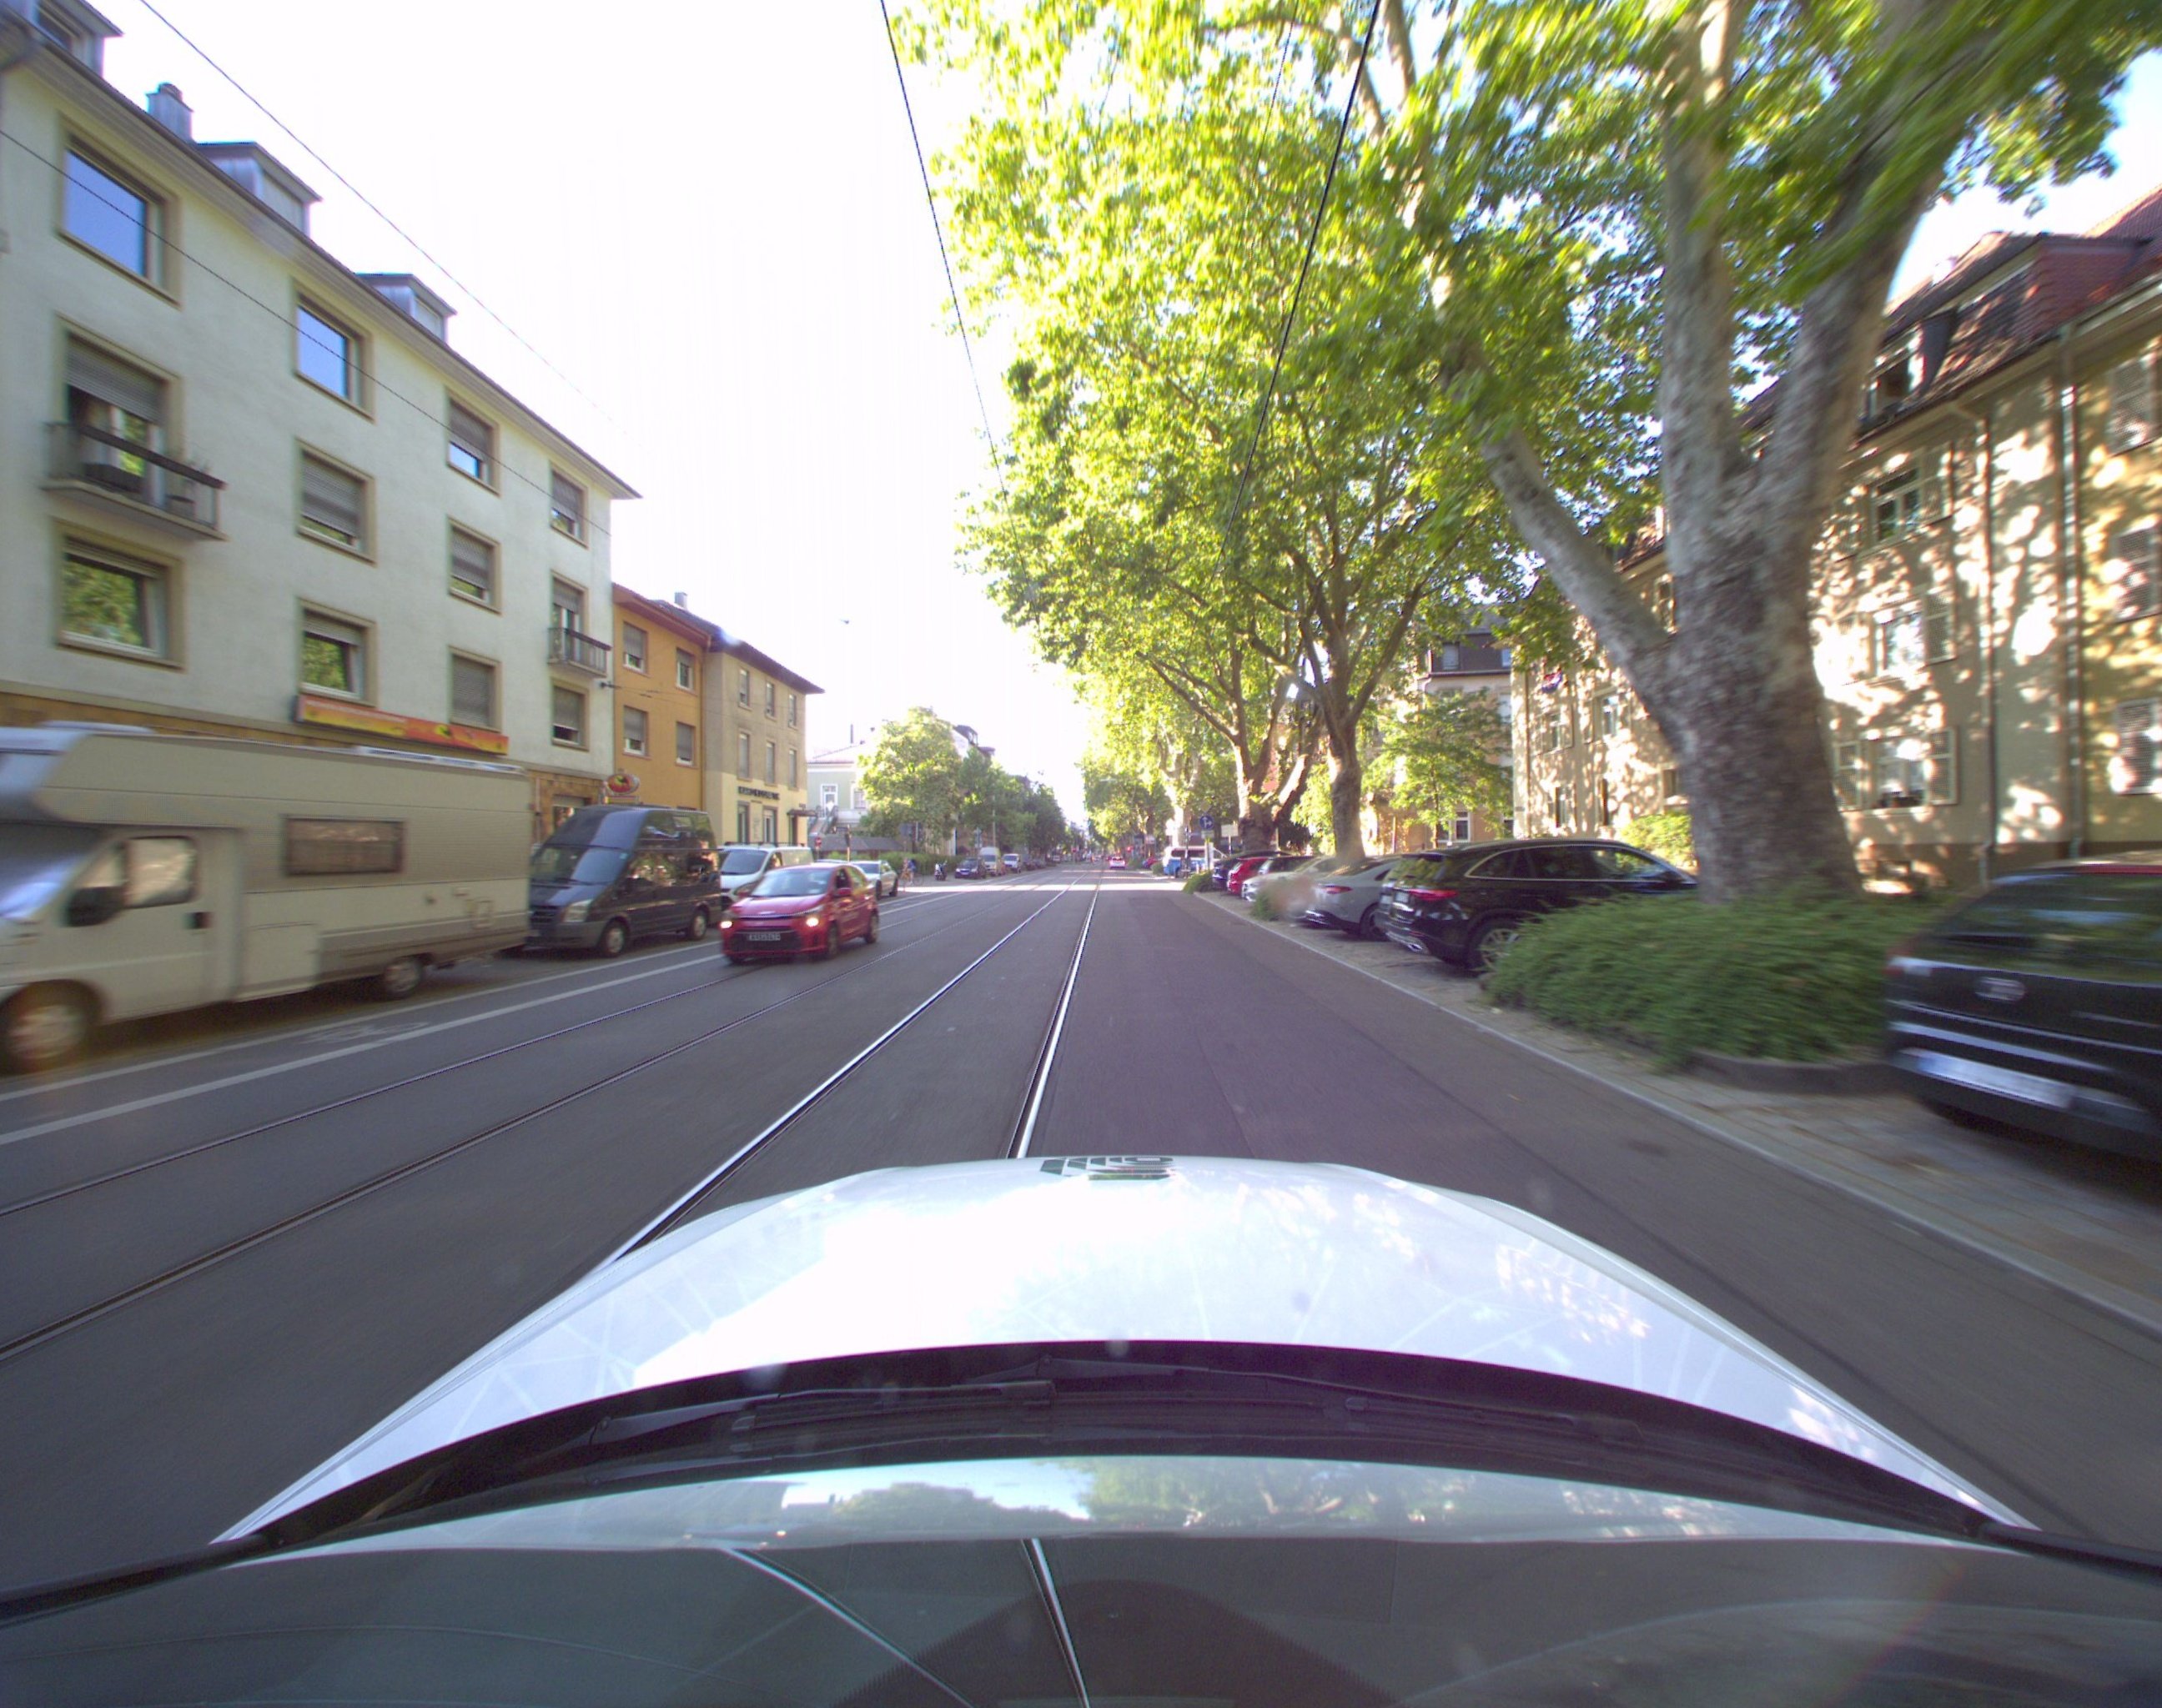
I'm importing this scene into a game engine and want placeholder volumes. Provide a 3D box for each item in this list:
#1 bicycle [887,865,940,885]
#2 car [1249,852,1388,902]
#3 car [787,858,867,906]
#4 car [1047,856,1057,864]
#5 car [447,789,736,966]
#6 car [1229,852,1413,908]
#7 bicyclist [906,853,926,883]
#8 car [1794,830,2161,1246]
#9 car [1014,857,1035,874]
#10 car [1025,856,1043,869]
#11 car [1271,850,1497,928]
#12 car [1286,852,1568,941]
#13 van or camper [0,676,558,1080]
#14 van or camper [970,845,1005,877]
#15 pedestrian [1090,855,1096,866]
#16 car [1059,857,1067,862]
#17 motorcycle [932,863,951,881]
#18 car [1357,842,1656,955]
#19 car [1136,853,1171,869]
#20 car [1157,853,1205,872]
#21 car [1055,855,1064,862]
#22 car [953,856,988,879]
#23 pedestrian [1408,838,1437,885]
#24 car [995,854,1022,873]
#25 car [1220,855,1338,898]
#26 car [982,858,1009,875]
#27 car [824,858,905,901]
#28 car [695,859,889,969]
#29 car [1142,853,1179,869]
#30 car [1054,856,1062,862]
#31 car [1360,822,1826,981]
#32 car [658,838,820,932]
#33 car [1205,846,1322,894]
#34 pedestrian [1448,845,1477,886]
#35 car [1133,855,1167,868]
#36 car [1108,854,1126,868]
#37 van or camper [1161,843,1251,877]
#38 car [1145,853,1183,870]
[{"bbox_3d":[-9.759,1.207,47.466,2.946,1.105,1.049,-1,0,-8],"label":"bicycle"},{"bbox_3d":[7.371,0.702,25.561,3.868,1.435,1.754,-1,0,1],"label":"car"},{"bbox_3d":[-8.559,0.910,27.661,1.565,1.526,3.043,1,0,4],"label":"car"},{"bbox_3d":[-5.700,1.169,161.877,1.912,1.419,3.720,-1,0,-1],"label":"car"},{"bbox_3d":[-8.870,0.367,15.540,2.079,2.731,5.311,2,0,2],"label":"car"},{"bbox_3d":[6.697,0.716,23.120,4.669,1.446,1.893,-1,0,1],"label":"car"},{"bbox_3d":[-9.634,0.806,47.469,1.045,1.705,1.055,-1,0,-8],"label":"bicyclist"},{"bbox_3d":[5.848,0.639,3.623,3.824,1.509,1.711,-1,0,1],"label":"car"},{"bbox_3d":[-6.748,1.367,97.623,1.986,1.861,4.180,-1,0,2],"label":"car"},{"bbox_3d":[-6.508,1.167,113.554,1.986,1.745,4.661,-1,0,2],"label":"car"},{"bbox_3d":[6.263,0.699,17.198,4.126,1.509,1.797,-1,0,2],"label":"car"},{"bbox_3d":[6.094,0.722,14.722,4.281,1.439,1.948,-1,0,0],"label":"car"},{"bbox_3d":[-9.147,0.144,8.929,2.328,3.041,6.401,2,0,3],"label":"van or camper"},{"bbox_3d":[-7.808,0.552,68.542,2.071,2.533,5.320,-1,0,2],"label":"van or camper"},{"bbox_3d":[2.192,1.238,150.823,1.043,2.014,1.083,-1,0,5],"label":"pedestrian"},{"bbox_3d":[-4.802,1.514,216.286,1.912,1.419,3.589,-1,0,-1],"label":"car"},{"bbox_3d":[-9.453,1.232,55.218,0.760,1.107,2.331,0,2,2],"label":"motorcycle"},{"bbox_3d":[6.348,0.639,12.495,3.662,1.547,1.778,-1,0,3],"label":"car"},{"bbox_3d":[8.379,0.770,94.320,3.972,1.784,2.001,-1,0,2],"label":"car"},{"bbox_3d":[8.679,0.747,70.674,3.972,1.609,2.001,-1,0,2],"label":"car"},{"bbox_3d":[-5.270,1.159,198.439,1.914,1.419,3.586,-3,-1,-3],"label":"car"},{"bbox_3d":[-7.997,0.957,59.304,1.781,1.587,4.344,2,0,1],"label":"car"},{"bbox_3d":[12.887,0.275,30.764,0.757,1.739,0.821,-1,0,1],"label":"pedestrian"},{"bbox_3d":[-7.367,0.923,83.216,2.165,1.861,4.661,-1,0,2],"label":"car"},{"bbox_3d":[6.727,0.757,27.991,3.636,1.378,1.891,-1,0,2],"label":"car"},{"bbox_3d":[-7.733,1.101,73.905,1.869,1.460,4.208,-1,0,2],"label":"car"},{"bbox_3d":[-8.414,0.931,32.136,1.830,1.468,5.068,2,0,0],"label":"car"},{"bbox_3d":[-4.533,0.850,13.444,1.657,1.479,3.952,-2,0,1],"label":"car"},{"bbox_3d":[8.867,0.790,91.044,3.972,1.784,2.001,-1,0,2],"label":"car"},{"bbox_3d":[-5.465,1.136,194.195,1.912,1.419,3.589,-1,0,-1],"label":"car"},{"bbox_3d":[6.061,0.558,10.195,4.474,1.602,2.030,-3,0,5],"label":"car"},{"bbox_3d":[-8.690,0.677,21.325,1.946,2.091,5.248,2,1,0],"label":"car"},{"bbox_3d":[6.710,0.574,30.217,3.911,1.670,1.960,-1,0,0],"label":"car"},{"bbox_3d":[13.771,0.412,29.382,0.659,1.455,0.821,-1,0,2],"label":"pedestrian"},{"bbox_3d":[8.144,0.900,96.632,3.972,1.521,2.001,-1,0,2],"label":"car"},{"bbox_3d":[4.148,0.802,94.230,1.911,1.584,3.792,-2,0,1],"label":"car"},{"bbox_3d":[8.257,0.354,54.090,5.542,2.013,2.242,-1,2,-3],"label":"van or camper"},{"bbox_3d":[9.012,0.777,88.756,3.972,1.784,2.001,-1,0,2],"label":"car"}]
